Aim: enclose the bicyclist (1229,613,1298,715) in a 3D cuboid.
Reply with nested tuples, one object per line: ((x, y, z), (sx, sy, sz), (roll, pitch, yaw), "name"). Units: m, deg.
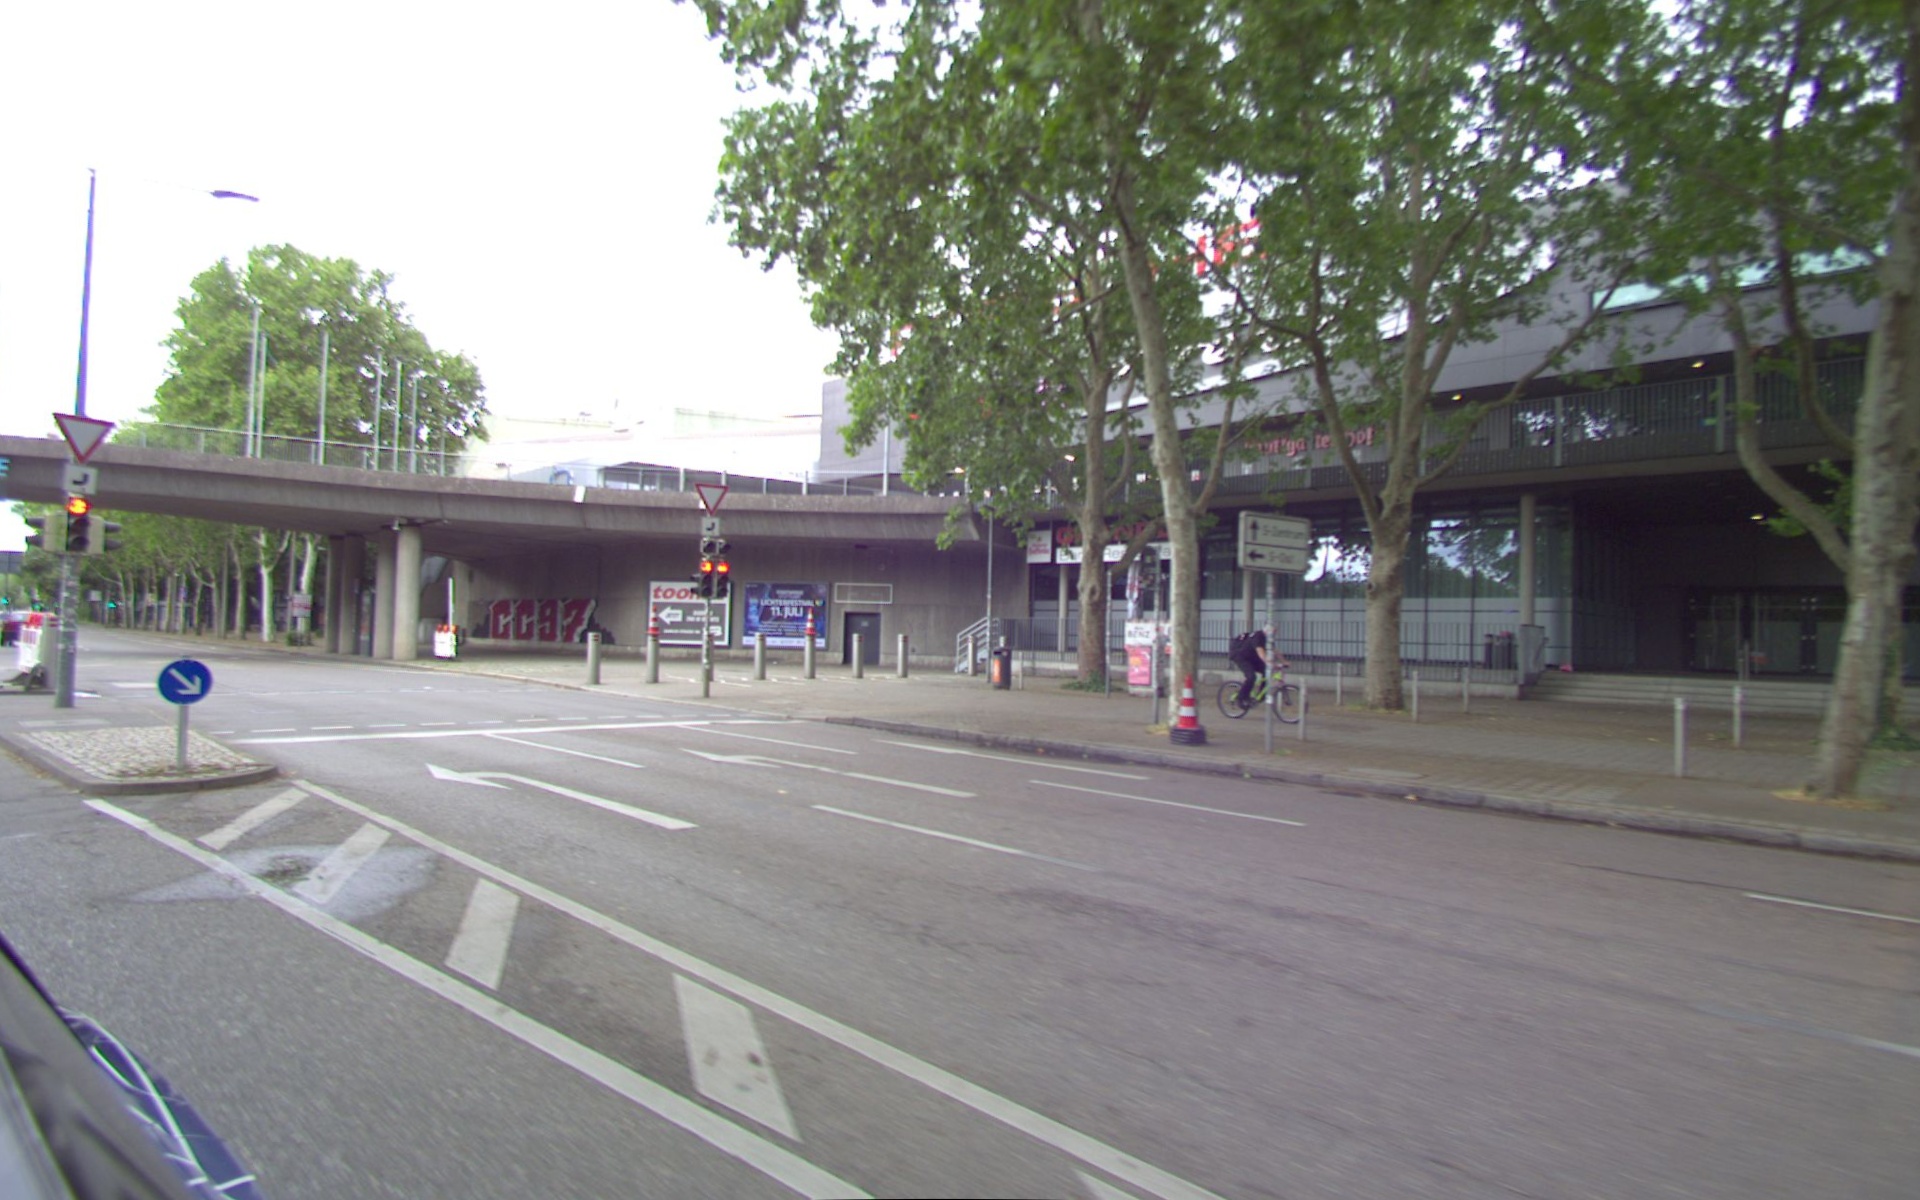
((5.337, 1.117, 17.791), (0.854, 1.710, 0.756), (1, -3, 43), "bicyclist")

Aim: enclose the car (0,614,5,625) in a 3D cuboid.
((-158.320, 3.150, 165.818), (3.996, 1.672, 1.974), (0, -3, 39), "car")

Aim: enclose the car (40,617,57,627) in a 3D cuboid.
((-125.928, 3.072, 139.772), (1.591, 1.323, 3.399), (4, -3, -43), "car")

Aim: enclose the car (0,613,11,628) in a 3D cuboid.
((-93.613, 1.968, 98.274), (1.970, 1.429, 4.004), (4, -3, -43), "car")

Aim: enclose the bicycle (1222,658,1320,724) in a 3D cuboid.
((5.421, 1.569, 17.669), (1.538, 1.020, 0.509), (1, -2, 43), "bicycle")

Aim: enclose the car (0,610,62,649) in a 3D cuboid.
((-38.403, 1.185, 41.703), (1.805, 1.463, 4.084), (4, -3, -38), "car")
